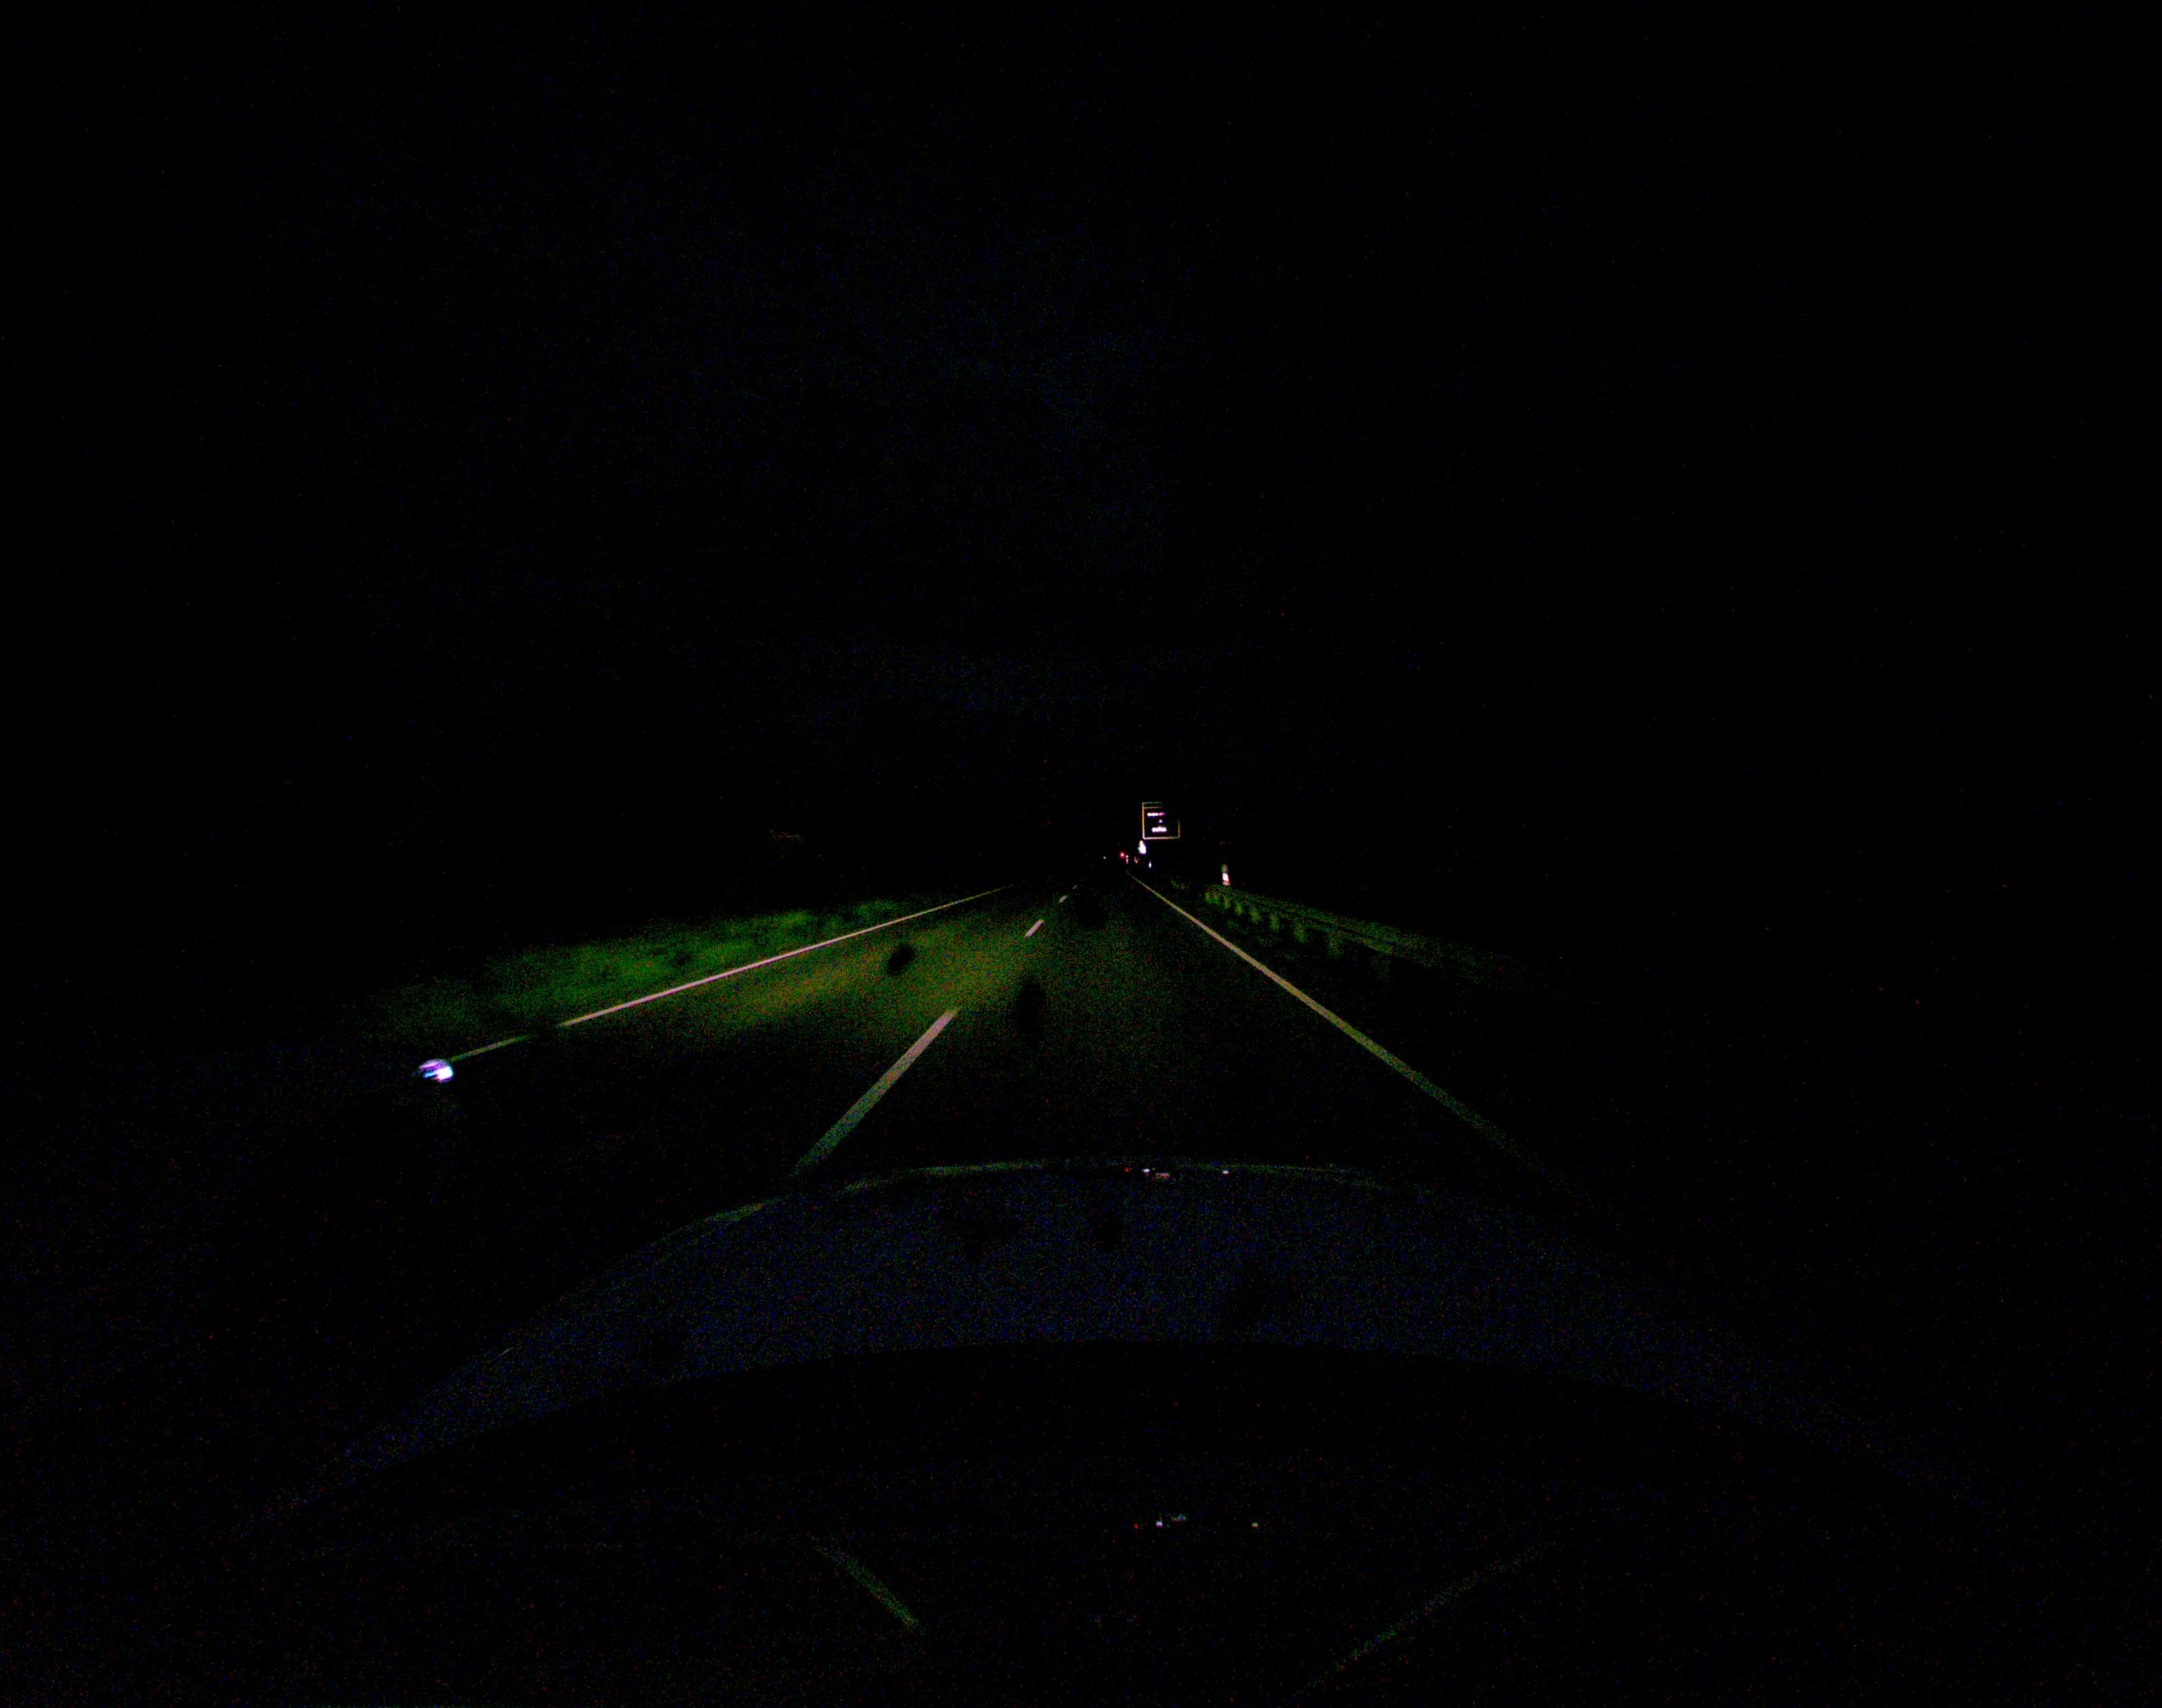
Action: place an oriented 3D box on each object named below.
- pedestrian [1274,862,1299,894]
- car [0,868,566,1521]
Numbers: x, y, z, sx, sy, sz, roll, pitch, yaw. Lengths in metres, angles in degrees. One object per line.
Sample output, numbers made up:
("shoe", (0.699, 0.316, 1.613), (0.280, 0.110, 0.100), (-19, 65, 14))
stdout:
("pedestrian", (10.826, 1.255, 42.880), (1.058, 1.643, 1.119), (-1, 0, 2))
("car", (-3.348, 0.817, 1.638), (1.636, 1.490, 4.580), (-1, 0, 1))
